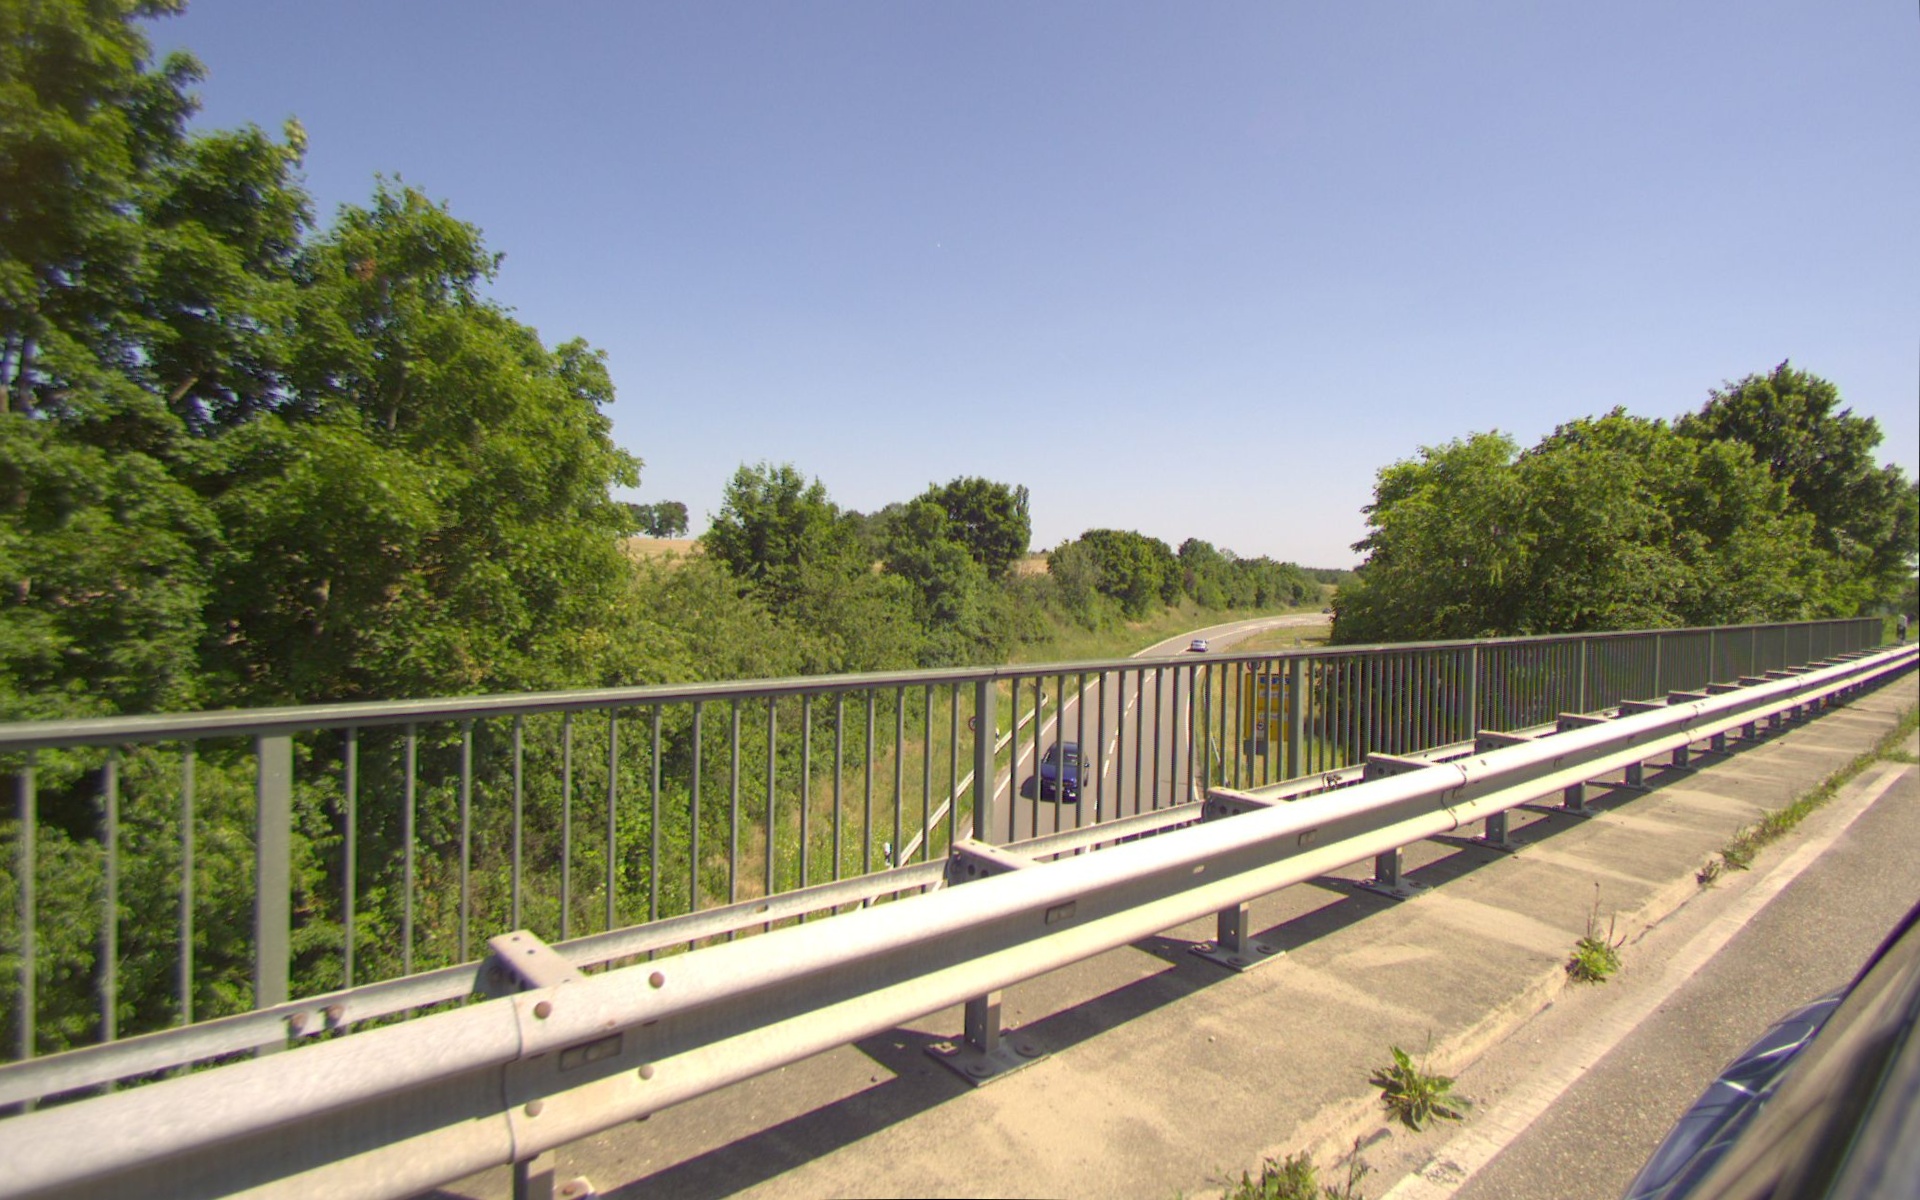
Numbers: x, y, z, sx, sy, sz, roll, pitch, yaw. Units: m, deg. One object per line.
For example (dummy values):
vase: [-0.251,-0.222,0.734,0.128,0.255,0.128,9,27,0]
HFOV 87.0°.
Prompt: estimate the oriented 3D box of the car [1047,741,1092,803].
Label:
car: [4.159,6.452,38.226,1.466,1.596,3.600,3,1,9]

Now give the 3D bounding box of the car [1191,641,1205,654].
car: [28.516,5.673,121.166,1.499,1.211,3.409,1,2,11]
